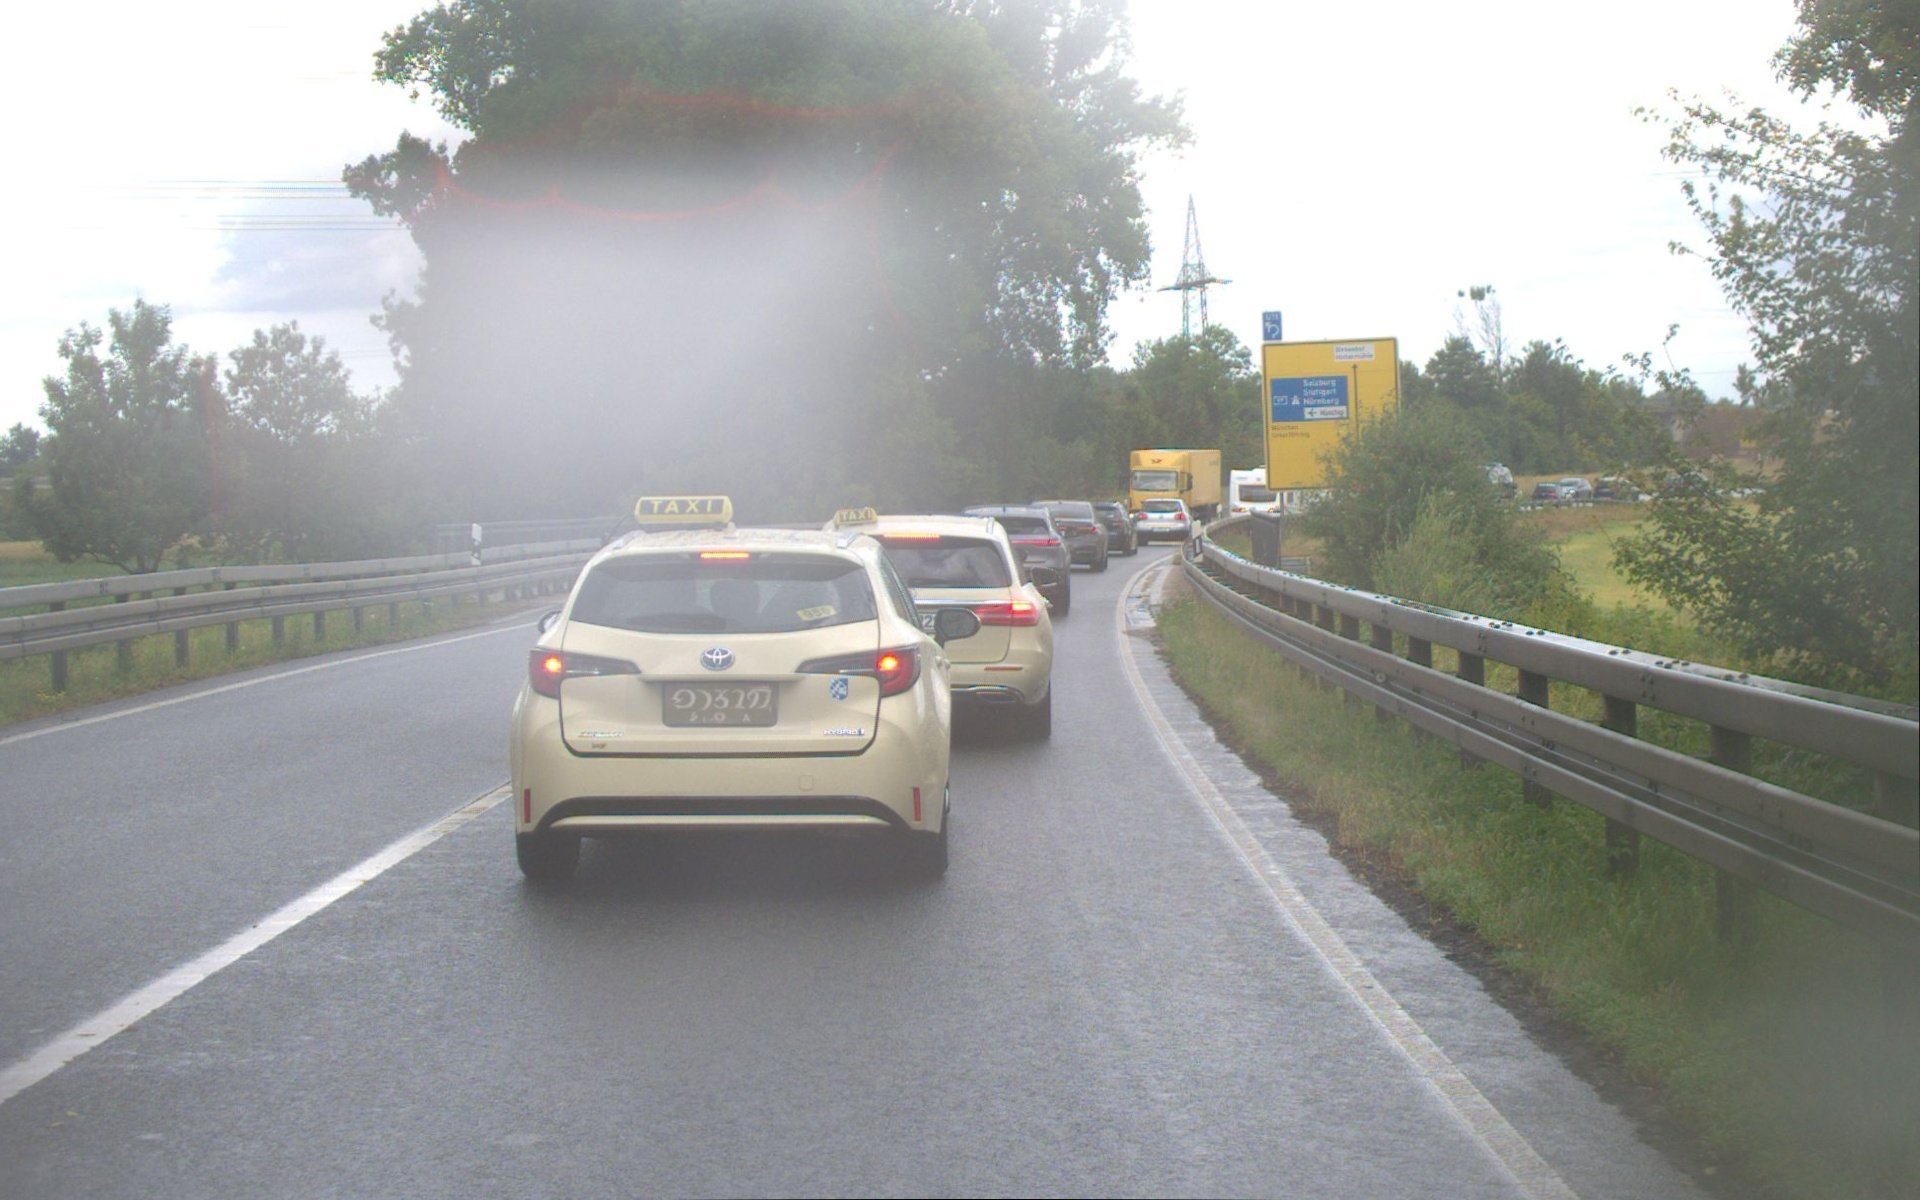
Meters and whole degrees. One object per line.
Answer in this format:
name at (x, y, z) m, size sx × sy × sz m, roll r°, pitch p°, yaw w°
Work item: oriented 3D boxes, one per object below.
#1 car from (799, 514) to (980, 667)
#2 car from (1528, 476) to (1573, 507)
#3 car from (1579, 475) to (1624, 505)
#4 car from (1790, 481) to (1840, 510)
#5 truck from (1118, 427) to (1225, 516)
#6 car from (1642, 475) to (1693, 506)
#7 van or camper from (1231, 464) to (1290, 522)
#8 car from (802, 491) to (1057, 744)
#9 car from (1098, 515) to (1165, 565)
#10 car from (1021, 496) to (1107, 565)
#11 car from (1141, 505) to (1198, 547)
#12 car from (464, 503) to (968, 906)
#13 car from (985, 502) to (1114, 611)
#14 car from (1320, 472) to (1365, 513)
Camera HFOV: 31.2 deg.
car at (-0.656, -0.134, 34.071) m, size 1.506 × 1.432 × 3.355 m, roll 1°, pitch 1°, yaw 4°
car at (35.131, -6.451, 204.511) m, size 1.922 × 1.831 × 3.996 m, roll 1°, pitch 1°, yaw 20°
car at (40.577, -6.979, 217.510) m, size 1.821 × 1.831 × 3.983 m, roll 1°, pitch 1°, yaw 26°
car at (62.219, -7.600, 250.126) m, size 2.145 × 2.007 × 3.992 m, roll 1°, pitch 1°, yaw 36°
truck at (8.800, -5.369, 142.039) m, size 2.772 × 3.417 × 9.183 m, roll 3°, pitch 4°, yaw 13°
car at (46.618, -7.219, 226.509) m, size 1.997 × 2.007 × 3.993 m, roll 1°, pitch 1°, yaw 32°
van or camper at (11.958, -4.251, 136.591) m, size 1.994 × 2.246 × 3.999 m, roll 1°, pitch 1°, yaw 9°
car at (-0.145, 0.061, 23.140) m, size 1.578 × 1.567 × 3.681 m, roll 0°, pitch 1°, yaw 1°
car at (4.547, -1.596, 90.676) m, size 1.483 × 1.304 × 3.476 m, roll 0°, pitch 1°, yaw 7°
car at (2.216, -1.451, 72.621) m, size 1.660 × 1.404 × 3.904 m, roll 0°, pitch 1°, yaw 4°
car at (6.567, -2.332, 107.759) m, size 1.483 × 1.304 × 3.476 m, roll 0°, pitch 1°, yaw 8°
car at (-0.925, 0.344, 15.167) m, size 1.906 × 1.532 × 4.162 m, roll 0°, pitch 1°, yaw 0°
car at (1.214, -0.630, 47.743) m, size 1.665 × 1.459 × 3.477 m, roll 0°, pitch 1°, yaw -1°
car at (17.445, -4.867, 156.547) m, size 1.732 × 1.813 × 3.998 m, roll 1°, pitch 1°, yaw 11°
